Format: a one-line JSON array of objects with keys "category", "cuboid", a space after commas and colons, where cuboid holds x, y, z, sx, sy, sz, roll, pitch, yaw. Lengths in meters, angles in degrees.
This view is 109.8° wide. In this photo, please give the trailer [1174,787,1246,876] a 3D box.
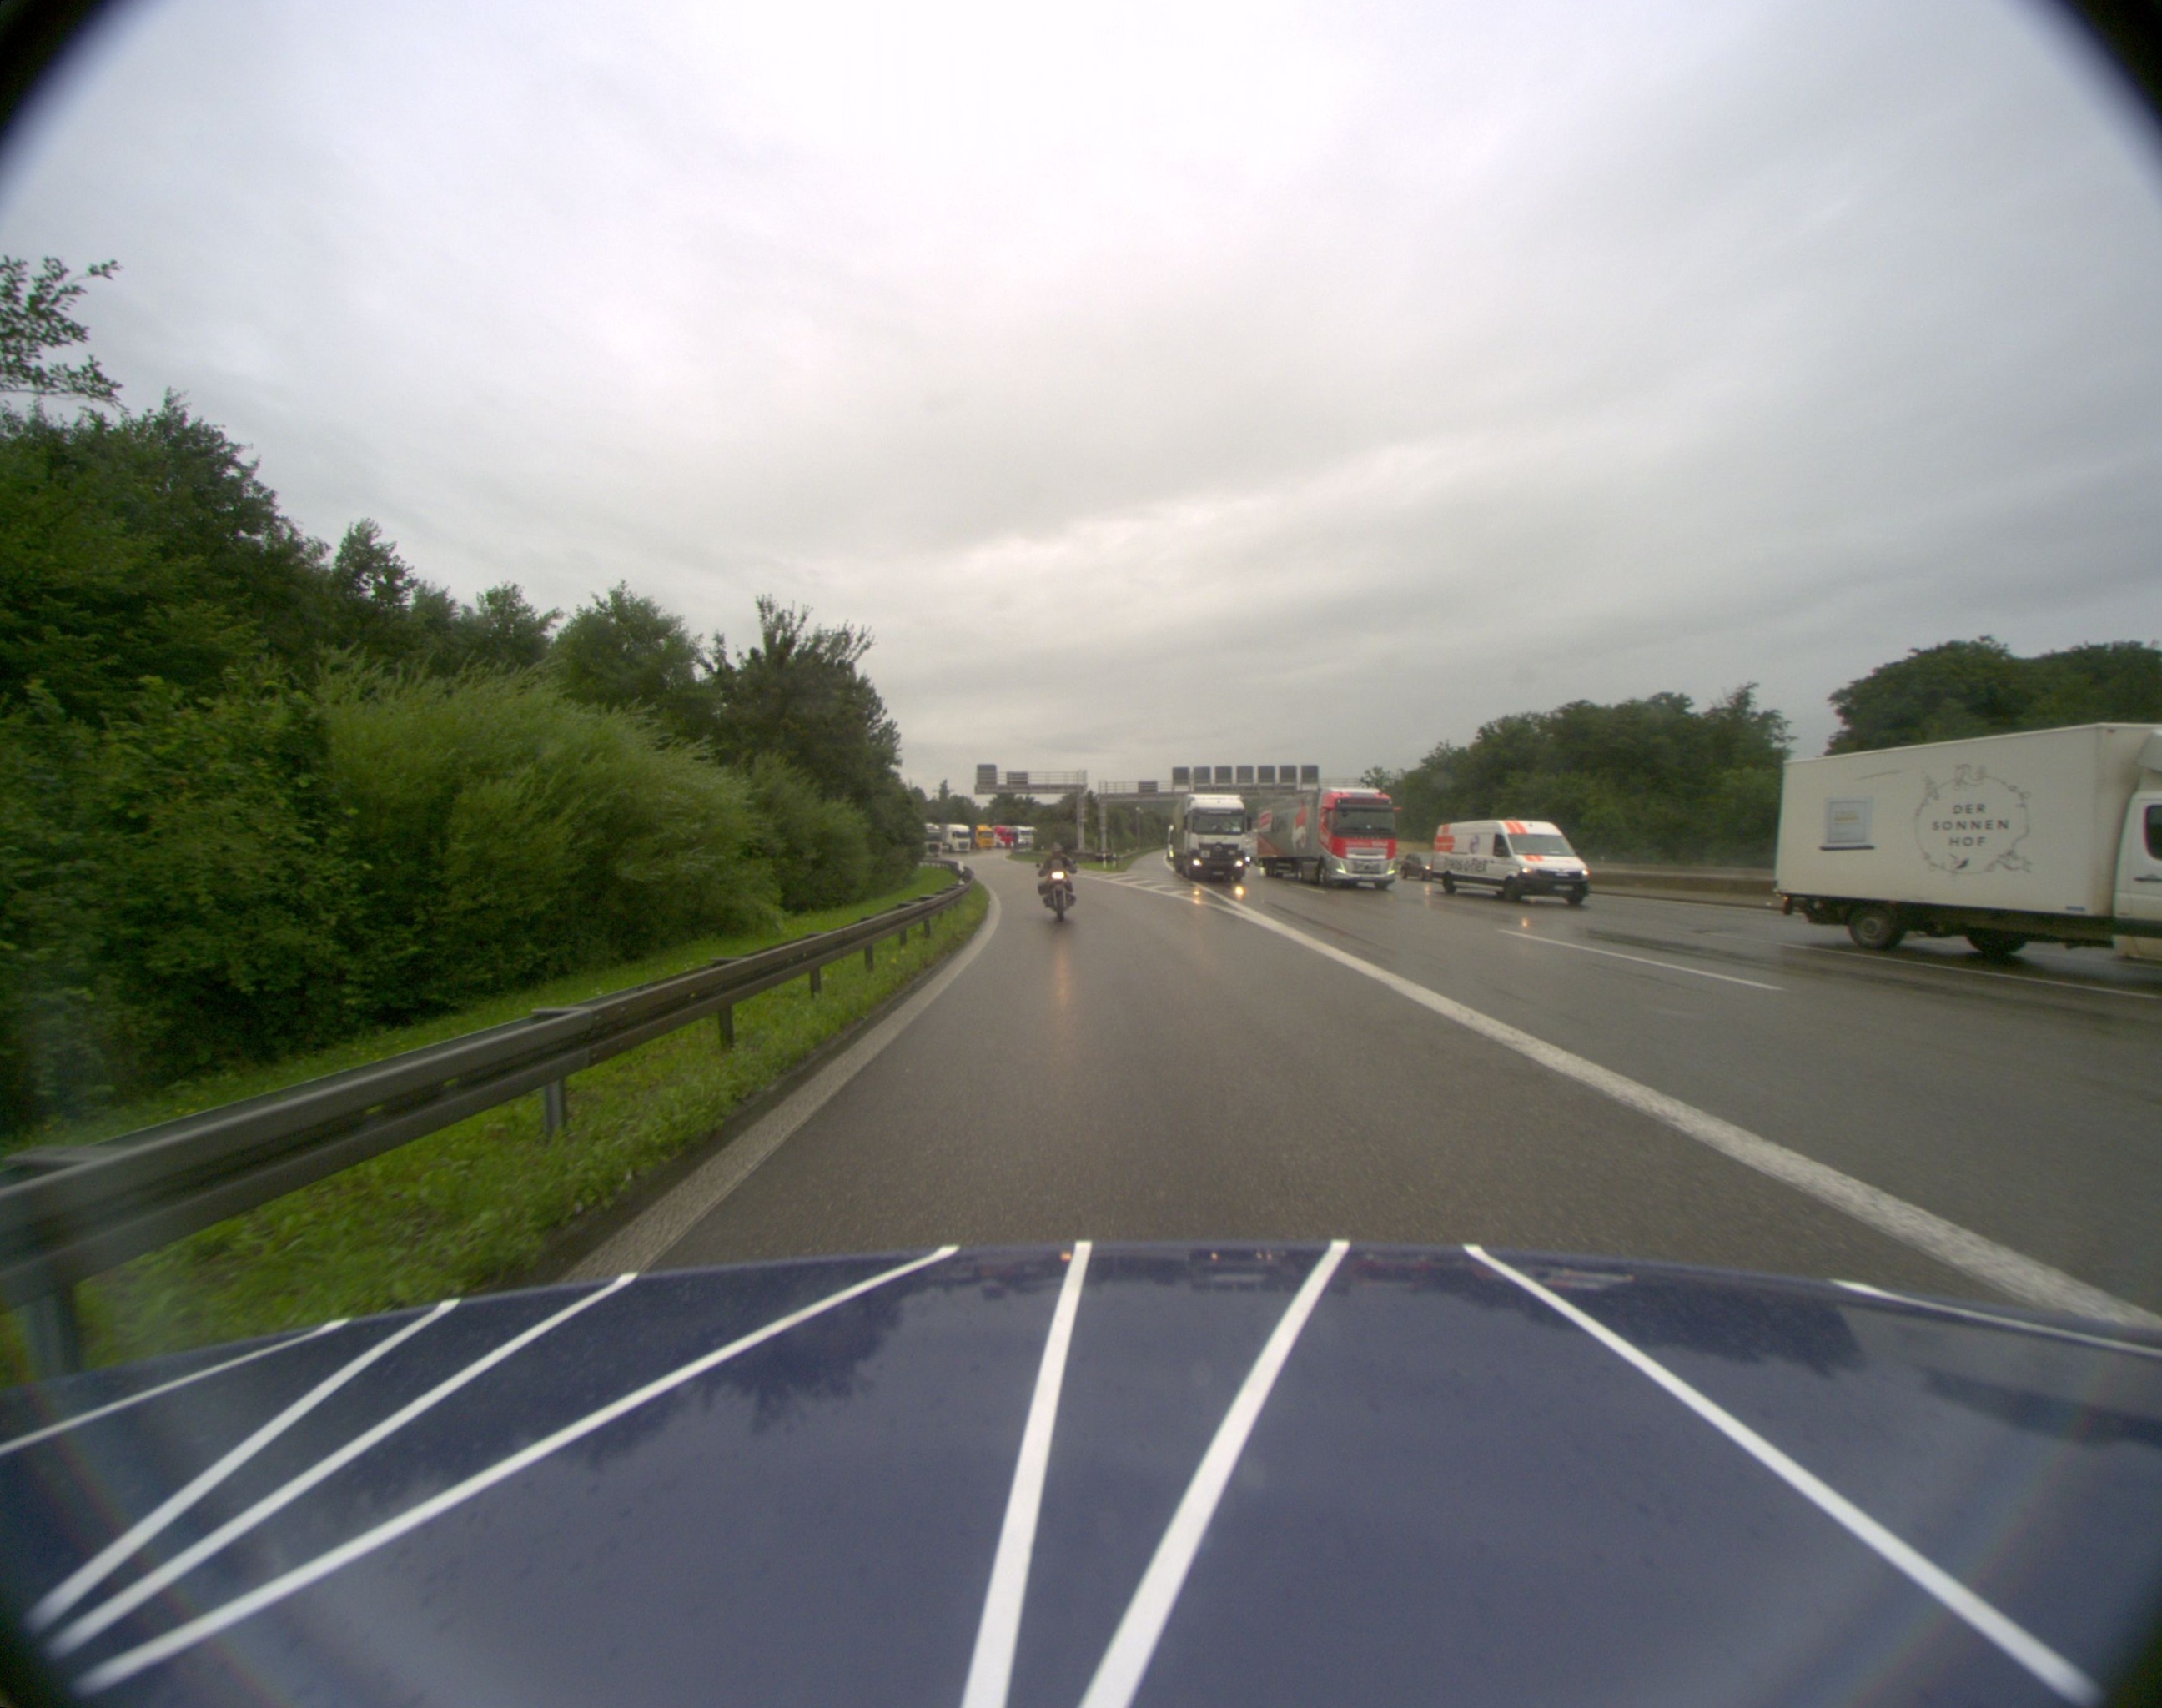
[{"category": "trailer", "cuboid": [6.913, -1.255, 42.565, 2.924, 4.182, 13.637, 0, 2, 5]}]

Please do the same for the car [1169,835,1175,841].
[{"category": "car", "cuboid": [28.233, -4.898, 235.552, 1.817, 1.747, 4.687, 0, 1, 6]}]

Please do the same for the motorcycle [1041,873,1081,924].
[{"category": "motorcycle", "cuboid": [-0.502, 1.007, 17.747, 0.878, 1.016, 2.351, 0, 1, -3]}]

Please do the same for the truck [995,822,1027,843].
[{"category": "truck", "cuboid": [-13.623, -4.193, 147.731, 2.905, 3.898, 6.536, -2, 3, -41]}]

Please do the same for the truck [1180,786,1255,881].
[{"category": "truck", "cuboid": [6.362, -0.974, 36.264, 2.924, 4.076, 6.720, 0, 2, 5]}]

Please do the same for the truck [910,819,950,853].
[{"category": "truck", "cuboid": [-19.003, -2.356, 95.363, 2.832, 4.123, 5.287, -2, 3, -38]}]

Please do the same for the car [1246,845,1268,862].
[{"category": "car", "cuboid": [18.793, -0.066, 81.207, 1.997, 1.660, 4.185, -1, 1, 10]}]

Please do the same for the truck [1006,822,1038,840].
[{"category": "truck", "cuboid": [-13.403, -5.297, 171.889, 3.252, 4.069, 7.914, -2, 3, -41]}]

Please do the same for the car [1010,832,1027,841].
[{"category": "car", "cuboid": [-13.592, -3.759, 165.346, 1.852, 1.848, 3.988, -3, 3, -39]}]

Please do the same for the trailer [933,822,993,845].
[{"category": "trailer", "cuboid": [-21.098, -3.762, 134.459, 2.874, 3.898, 16.584, -1, 3, -38]}]

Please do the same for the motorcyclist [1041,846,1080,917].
[{"category": "motorcyclist", "cuboid": [-0.491, 0.604, 17.612, 0.878, 1.559, 1.372, 0, 1, -3]}]

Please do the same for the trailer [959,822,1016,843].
[{"category": "trailer", "cuboid": [-18.398, -4.206, 147.850, 3.252, 3.898, 14.785, -2, 3, -41]}]

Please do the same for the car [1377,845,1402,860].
[{"category": "car", "cuboid": [38.451, -0.201, 94.684, 1.997, 1.805, 4.107, -1, 1, 9]}]

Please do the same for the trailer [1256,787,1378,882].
[{"category": "trailer", "cuboid": [11.220, -0.923, 37.890, 2.633, 3.842, 13.677, 0, 1, 4]}]

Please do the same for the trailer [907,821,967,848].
[{"category": "trailer", "cuboid": [-22.193, -3.124, 116.284, 2.850, 3.898, 13.913, -2, 3, -39]}]

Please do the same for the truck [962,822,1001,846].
[{"category": "truck", "cuboid": [-17.021, -3.441, 129.193, 2.846, 3.898, 8.106, -1, 3, -37]}]

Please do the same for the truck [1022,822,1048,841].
[{"category": "truck", "cuboid": [-10.847, -5.425, 180.526, 3.252, 4.362, 5.796, -3, 3, -41]}]

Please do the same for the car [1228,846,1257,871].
[{"category": "car", "cuboid": [13.379, 0.328, 63.146, 1.761, 1.762, 3.999, -3, 2, 4]}]

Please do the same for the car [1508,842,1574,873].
[{"category": "car", "cuboid": [32.041, 0.187, 53.081, 1.998, 2.002, 4.738, -2, 1, 4]}]

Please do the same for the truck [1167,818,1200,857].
[{"category": "truck", "cuboid": [11.806, -2.035, 88.562, 3.354, 4.048, 12.573, -3, 2, 7]}]

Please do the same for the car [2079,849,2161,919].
[{"category": "car", "cuboid": [27.695, 0.763, 18.437, 1.846, 1.668, 4.000, -2, 1, 4]}]

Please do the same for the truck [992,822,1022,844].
[{"category": "truck", "cuboid": [-13.953, -3.961, 142.800, 3.252, 3.898, 5.006, -2, 3, -41]}]

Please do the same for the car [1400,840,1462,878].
[{"category": "car", "cuboid": [18.984, 0.234, 41.346, 1.754, 1.762, 4.000, -3, 2, 5]}]

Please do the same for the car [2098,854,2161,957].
[{"category": "car", "cuboid": [16.759, 0.805, 9.759, 1.618, 1.514, 4.415, 0, 1, 5]}]

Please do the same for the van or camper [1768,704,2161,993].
[{"category": "van or camper", "cuboid": [13.305, -0.095, 9.847, 2.585, 3.186, 7.131, 0, 1, 3]}]

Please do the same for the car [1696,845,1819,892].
[{"category": "car", "cuboid": [30.082, 0.589, 33.985, 1.998, 1.886, 4.202, -1, 1, 4]}]

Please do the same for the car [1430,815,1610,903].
[{"category": "car", "cuboid": [14.032, 0.058, 25.069, 2.153, 2.474, 7.366, 0, 1, 5]}]

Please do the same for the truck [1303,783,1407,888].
[{"category": "truck", "cuboid": [10.719, -0.734, 30.169, 2.633, 3.842, 4.589, 0, 1, 4]}]

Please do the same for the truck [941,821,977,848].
[{"category": "truck", "cuboid": [-17.752, -2.838, 110.813, 2.836, 3.891, 5.395, -2, 3, -39]}]
